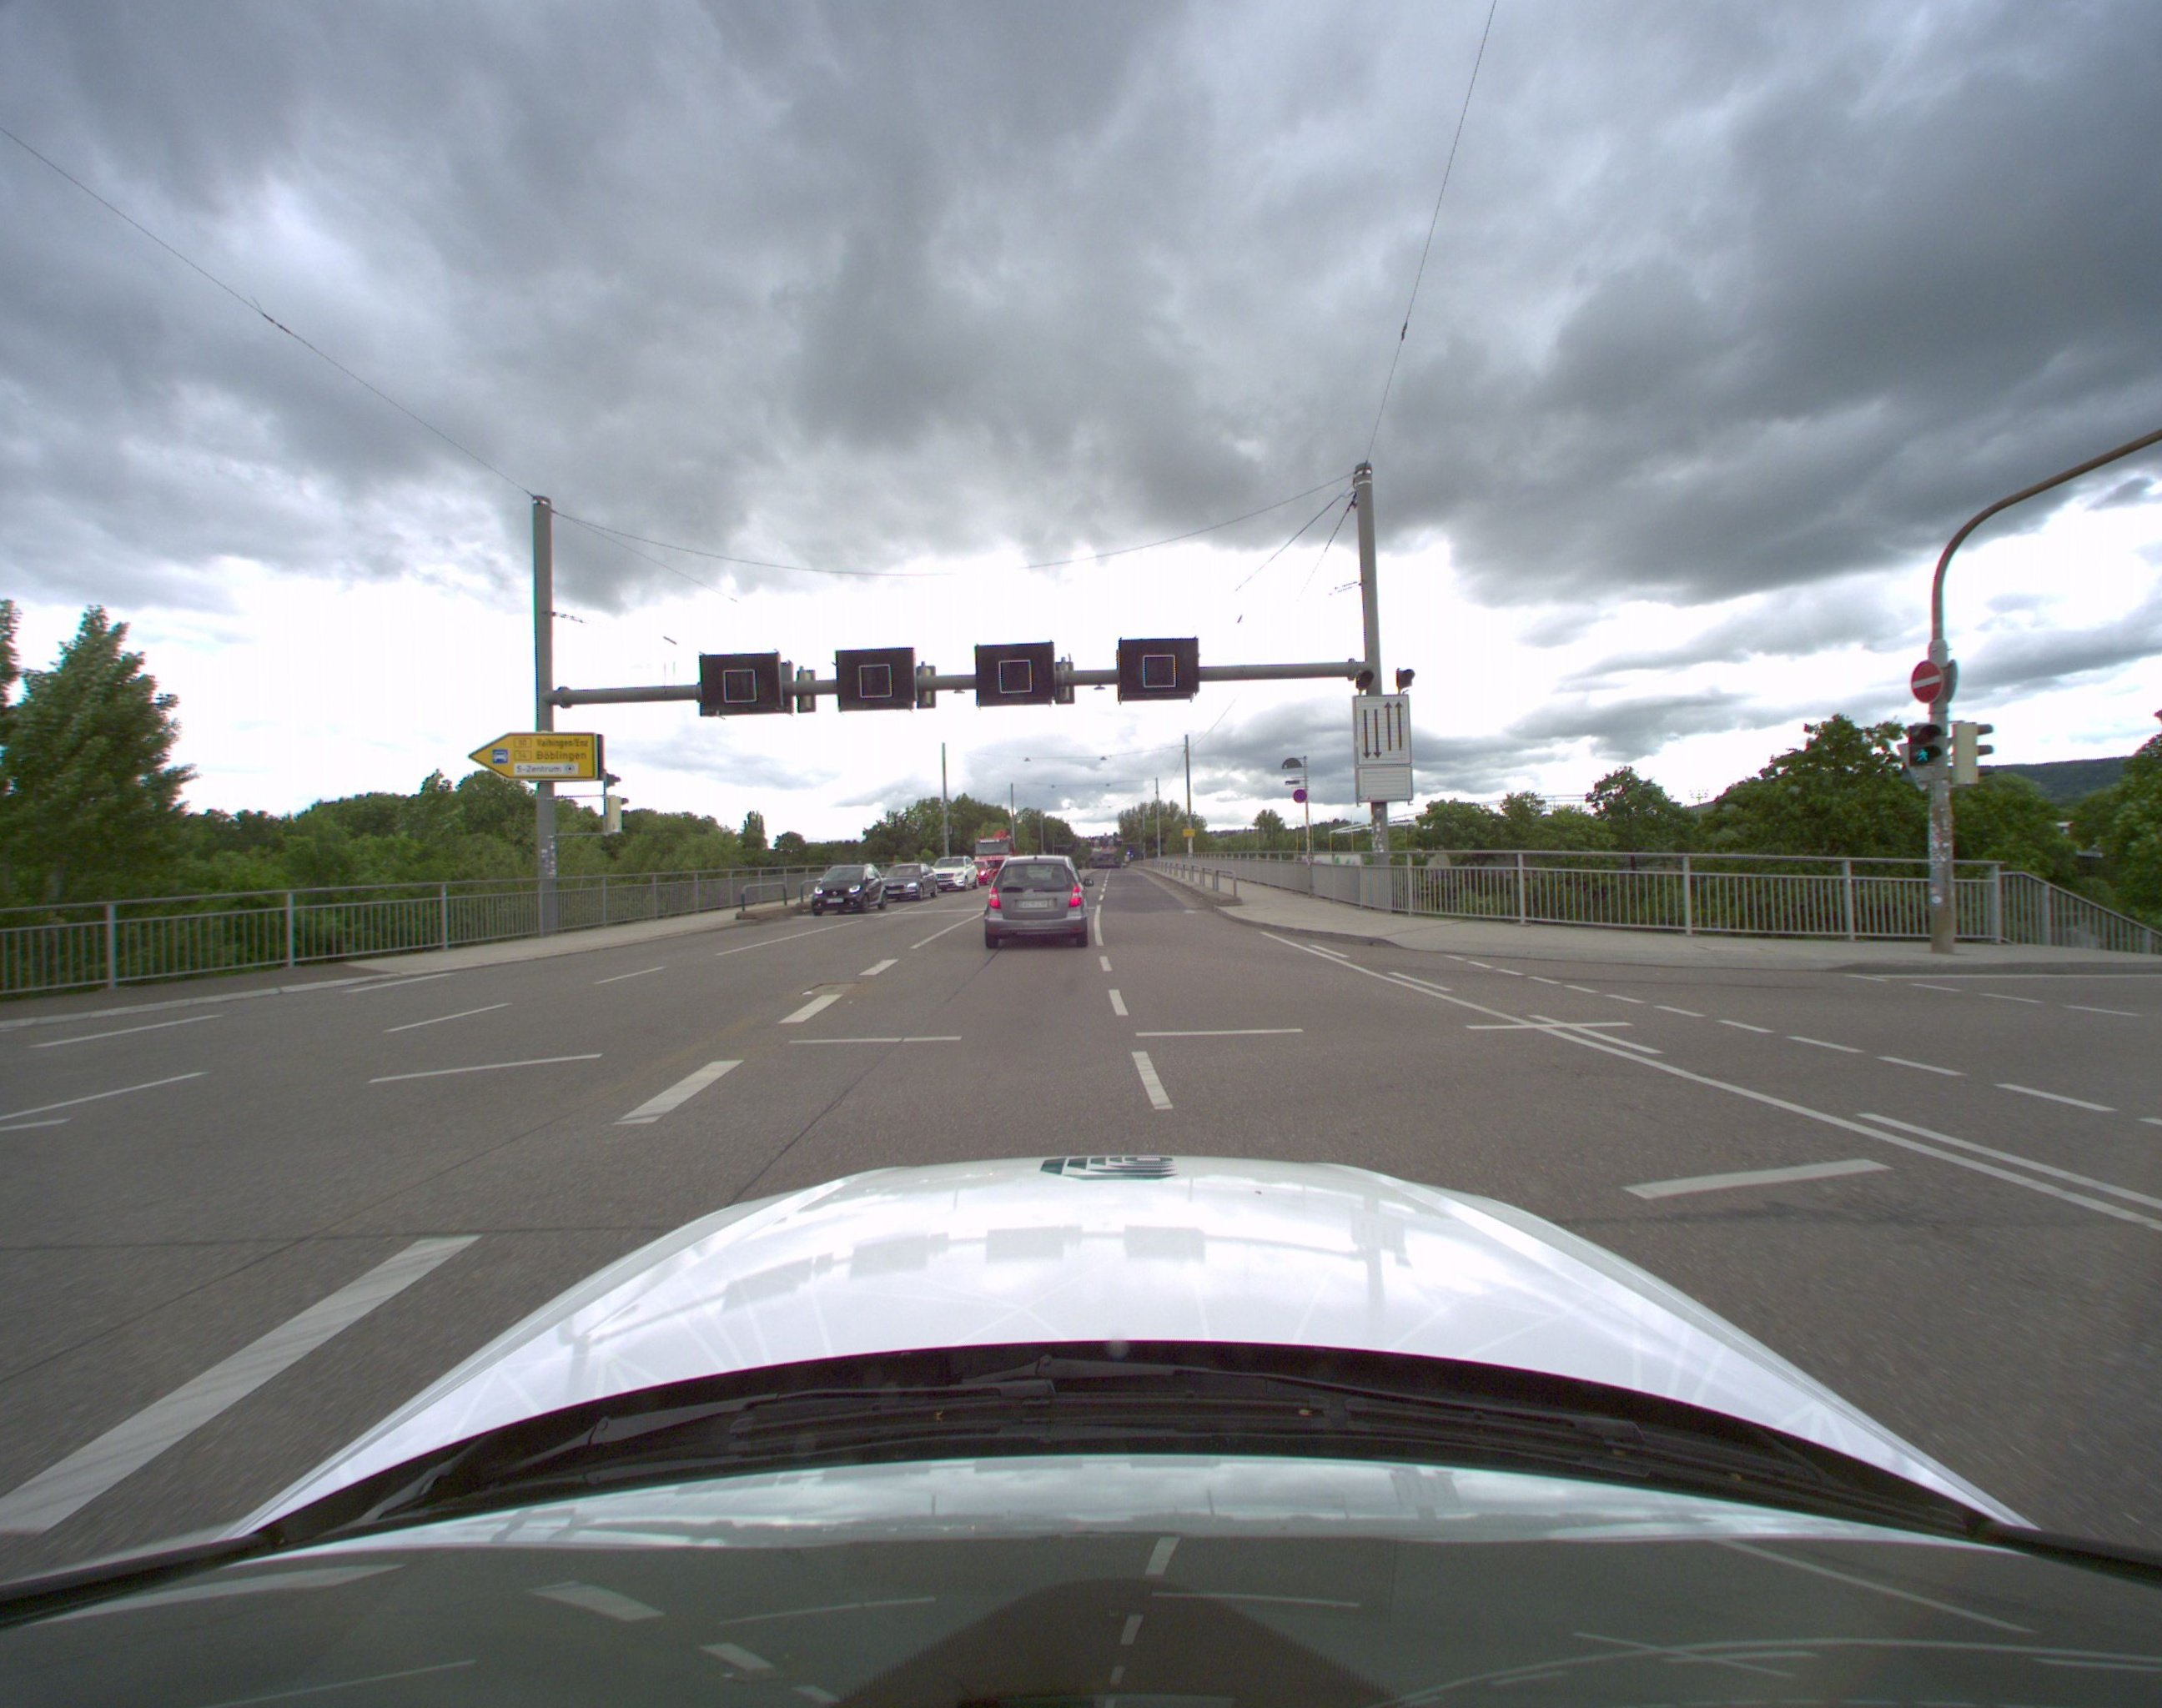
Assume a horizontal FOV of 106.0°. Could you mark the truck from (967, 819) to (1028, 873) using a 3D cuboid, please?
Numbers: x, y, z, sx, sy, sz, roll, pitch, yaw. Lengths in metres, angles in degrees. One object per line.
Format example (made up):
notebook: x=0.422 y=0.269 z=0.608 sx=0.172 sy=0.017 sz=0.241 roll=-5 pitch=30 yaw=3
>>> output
truck: x=-5.996 y=-0.556 z=60.514 sx=2.994 sy=3.565 sz=9.986 roll=-3 pitch=0 yaw=2

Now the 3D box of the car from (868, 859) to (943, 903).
car: x=-7.005 y=1.029 z=32.933 sx=1.828 sy=1.504 sz=4.519 roll=-3 pitch=0 yaw=2

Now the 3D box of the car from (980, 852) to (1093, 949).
car: x=-0.700 y=0.752 z=15.185 sx=1.739 sy=1.550 sz=3.873 roll=-1 pitch=0 yaw=2

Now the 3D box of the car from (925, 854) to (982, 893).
car: x=-6.407 y=0.921 z=41.427 sx=1.873 sy=1.761 sz=4.805 roll=-3 pitch=0 yaw=2

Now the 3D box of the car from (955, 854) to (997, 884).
car: x=-6.315 y=0.874 z=49.360 sx=1.873 sy=1.603 sz=4.017 roll=-3 pitch=0 yaw=2

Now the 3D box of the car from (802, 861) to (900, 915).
car: x=-7.411 y=1.054 z=26.640 sx=1.827 sy=1.504 sz=3.875 roll=-3 pitch=0 yaw=4
